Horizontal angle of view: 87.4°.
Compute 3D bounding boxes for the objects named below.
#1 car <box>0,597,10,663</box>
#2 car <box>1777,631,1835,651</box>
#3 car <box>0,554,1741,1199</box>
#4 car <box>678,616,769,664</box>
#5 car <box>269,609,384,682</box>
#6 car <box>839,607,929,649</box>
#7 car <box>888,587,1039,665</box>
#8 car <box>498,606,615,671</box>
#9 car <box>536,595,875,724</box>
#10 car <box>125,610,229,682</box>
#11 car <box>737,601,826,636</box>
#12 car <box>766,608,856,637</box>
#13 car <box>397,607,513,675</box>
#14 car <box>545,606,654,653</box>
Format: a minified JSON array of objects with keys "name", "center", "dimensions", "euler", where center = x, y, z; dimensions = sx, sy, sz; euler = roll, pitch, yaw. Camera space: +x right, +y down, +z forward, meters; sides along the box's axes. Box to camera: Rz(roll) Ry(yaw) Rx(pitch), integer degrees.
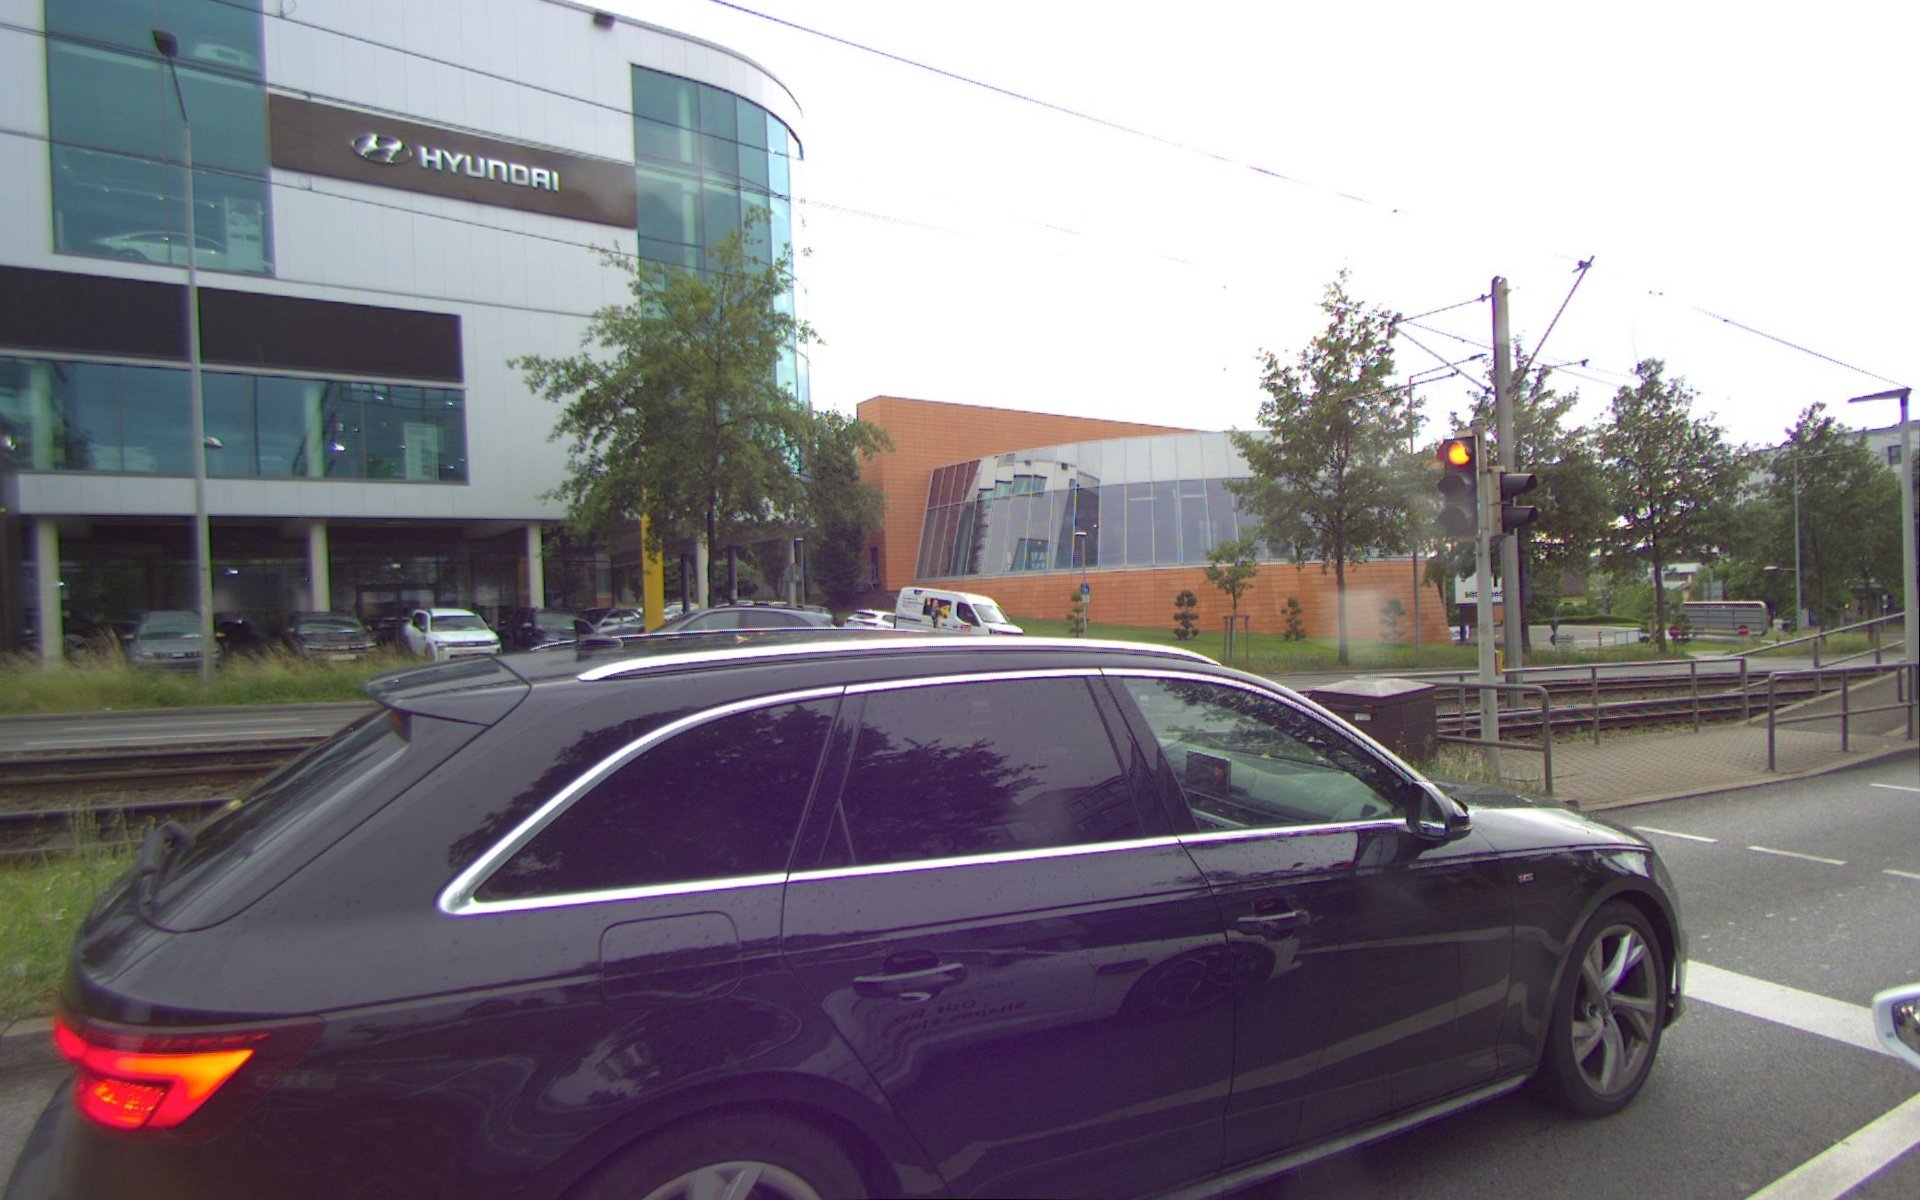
[{"name":"car","center":[-28.157,0.802,26.171],"dimensions":[1.962,1.806,4.544],"euler":[0,-1,23]},{"name":"car","center":[66.295,3.184,78.761],"dimensions":[1.408,1.405,3.371],"euler":[0,0,-13]},{"name":"car","center":[0.246,0.724,2.978],"dimensions":[4.461,1.486,1.772],"euler":[1,-1,-31]},{"name":"car","center":[-7.583,1.221,31.975],"dimensions":[1.565,1.409,3.619],"euler":[0,-1,-36]},{"name":"car","center":[-16.773,1.123,26.502],"dimensions":[1.984,1.571,4.324],"euler":[1,1,-40]},{"name":"car","center":[-3.157,1.147,42.271],"dimensions":[1.703,1.688,3.734],"euler":[0,-1,38]},{"name":"car","center":[0.063,0.896,38.222],"dimensions":[5.544,2.616,2.392],"euler":[3,1,43]},{"name":"car","center":[-12.099,1.085,29.975],"dimensions":[1.984,1.637,4.324],"euler":[1,1,-40]},{"name":"car","center":[-3.904,0.876,15.640],"dimensions":[4.783,1.742,1.985],"euler":[1,-3,-30]},{"name":"car","center":[-19.683,1.082,25.175],"dimensions":[1.917,1.479,3.974],"euler":[1,1,-40]},{"name":"car","center":[-8.686,0.899,49.190],"dimensions":[1.969,1.653,3.982],"euler":[0,-1,39]},{"name":"car","center":[-7.030,1.051,47.621],"dimensions":[1.969,1.297,3.982],"euler":[0,-1,39]},{"name":"car","center":[-14.316,1.086,28.358],"dimensions":[1.984,1.571,4.324],"euler":[1,1,-40]},{"name":"car","center":[-12.650,1.017,35.451],"dimensions":[1.691,1.572,3.587],"euler":[0,-1,20]}]
